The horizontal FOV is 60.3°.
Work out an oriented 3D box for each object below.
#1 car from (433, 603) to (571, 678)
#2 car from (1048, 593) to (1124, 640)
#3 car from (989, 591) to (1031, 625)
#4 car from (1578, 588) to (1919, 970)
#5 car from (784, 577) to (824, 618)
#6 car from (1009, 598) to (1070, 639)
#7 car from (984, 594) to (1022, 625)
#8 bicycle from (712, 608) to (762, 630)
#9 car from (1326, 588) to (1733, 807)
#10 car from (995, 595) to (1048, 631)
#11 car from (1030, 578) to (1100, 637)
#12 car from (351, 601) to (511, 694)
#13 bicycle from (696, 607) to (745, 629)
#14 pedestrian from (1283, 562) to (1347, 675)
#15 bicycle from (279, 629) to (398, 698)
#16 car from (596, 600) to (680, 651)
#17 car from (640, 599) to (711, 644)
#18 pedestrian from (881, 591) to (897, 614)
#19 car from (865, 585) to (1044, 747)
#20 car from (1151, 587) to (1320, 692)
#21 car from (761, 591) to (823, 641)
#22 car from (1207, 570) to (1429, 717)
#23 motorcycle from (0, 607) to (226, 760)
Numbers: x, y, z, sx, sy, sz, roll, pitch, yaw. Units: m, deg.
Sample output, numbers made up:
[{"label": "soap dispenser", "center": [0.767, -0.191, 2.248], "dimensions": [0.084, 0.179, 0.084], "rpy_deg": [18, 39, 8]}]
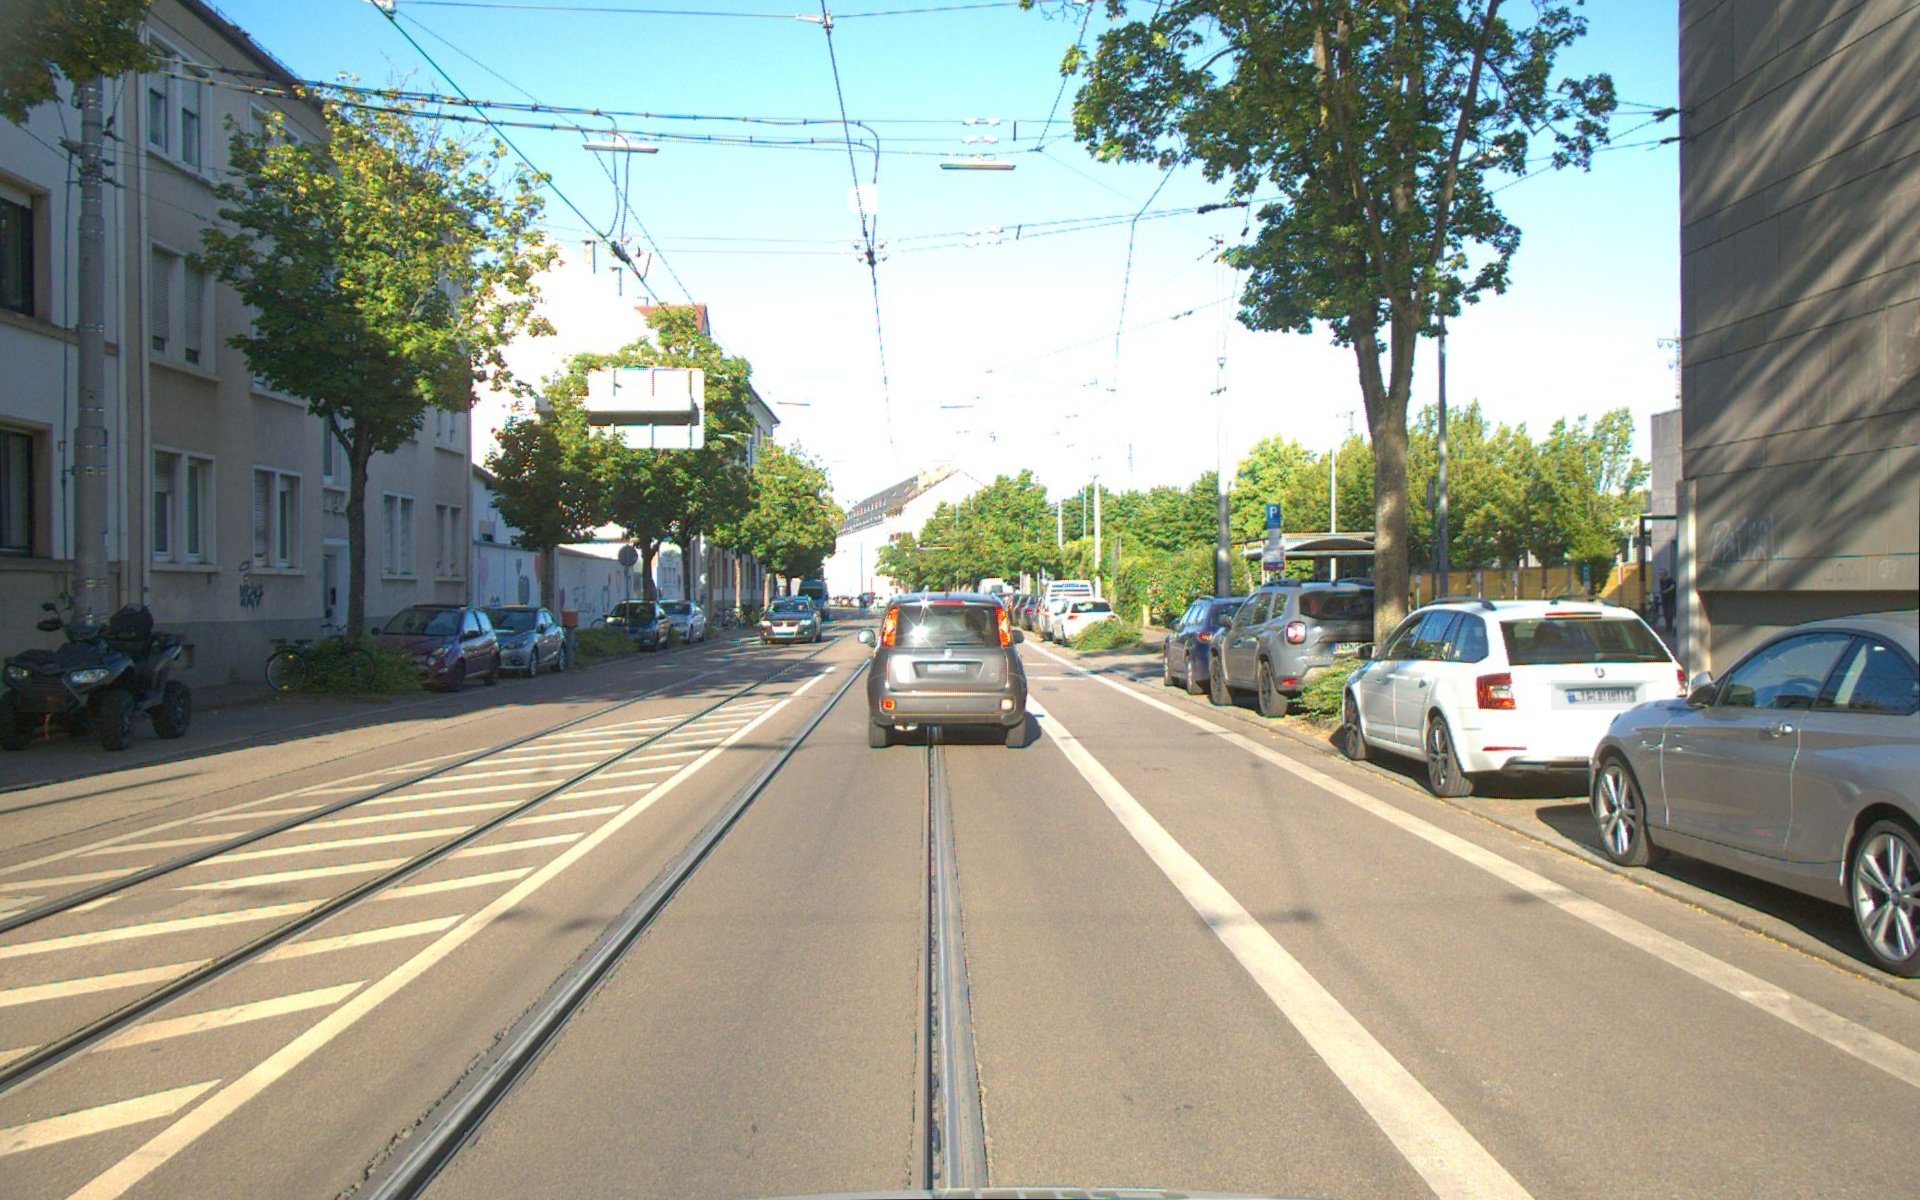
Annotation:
[{"label": "car", "center": [-9.632, 0.815, 35.117], "dimensions": [1.917, 1.444, 4.186], "rpy_deg": [-1, 0, -3]}, {"label": "car", "center": [3.944, 0.496, 52.241], "dimensions": [1.876, 1.399, 4.186], "rpy_deg": [-1, 0, -3]}, {"label": "car", "center": [2.370, 0.367, 79.195], "dimensions": [1.662, 1.574, 3.998], "rpy_deg": [-1, 0, -2]}, {"label": "car", "center": [4.632, 0.695, 7.799], "dimensions": [1.785, 1.489, 4.155], "rpy_deg": [-1, 0, -1]}, {"label": "car", "center": [-10.492, -0.185, 111.562], "dimensions": [2.286, 2.614, 5.670], "rpy_deg": [-1, 0, -1]}, {"label": "car", "center": [2.994, 0.670, 62.837], "dimensions": [1.917, 1.444, 4.186], "rpy_deg": [-1, 0, -3]}, {"label": "car", "center": [2.191, 0.487, 85.611], "dimensions": [1.662, 1.525, 3.998], "rpy_deg": [-1, 0, -2]}, {"label": "bicycle", "center": [-10.067, 0.856, 74.563], "dimensions": [2.277, 0.946, 0.788], "rpy_deg": [-1, 0, 35]}, {"label": "car", "center": [4.448, 0.661, 13.735], "dimensions": [1.710, 1.483, 4.617], "rpy_deg": [-1, 0, -1]}, {"label": "car", "center": [2.600, 0.540, 70.790], "dimensions": [1.917, 1.444, 4.186], "rpy_deg": [-1, 0, -3]}, {"label": "car", "center": [3.584, 0.241, 57.144], "dimensions": [1.917, 1.938, 4.186], "rpy_deg": [-1, 0, -3]}, {"label": "car", "center": [-9.452, 0.808, 29.880], "dimensions": [1.762, 1.512, 3.998], "rpy_deg": [-1, 0, -3]}, {"label": "bicycle", "center": [-10.660, 0.801, 73.523], "dimensions": [2.219, 0.946, 0.788], "rpy_deg": [-1, 0, 35]}, {"label": "pedestrian", "center": [6.555, 0.339, 30.593], "dimensions": [0.948, 2.049, 1.025], "rpy_deg": [-1, 0, 0]}, {"label": "bicycle", "center": [-9.722, 0.986, 25.901], "dimensions": [1.719, 1.041, 0.605], "rpy_deg": [1, -1, -22]}, {"label": "car", "center": [-9.804, 0.743, 50.628], "dimensions": [1.917, 1.444, 4.186], "rpy_deg": [-1, 0, -3]}, {"label": "car", "center": [-9.931, 0.728, 57.937], "dimensions": [1.917, 1.444, 4.186], "rpy_deg": [-1, 0, -3]}, {"label": "pedestrian", "center": [-5.718, 0.202, 132.937], "dimensions": [0.987, 1.805, 0.882], "rpy_deg": [-1, 0, -29]}, {"label": "car", "center": [-0.083, 0.636, 17.795], "dimensions": [1.696, 1.527, 3.999], "rpy_deg": [-1, 0, -1]}, {"label": "car", "center": [4.293, 0.575, 26.388], "dimensions": [1.805, 1.509, 4.186], "rpy_deg": [-1, 0, -3]}, {"label": "car", "center": [-5.346, 0.489, 52.967], "dimensions": [1.745, 1.518, 4.186], "rpy_deg": [0, 0, -3]}, {"label": "car", "center": [4.477, 0.495, 21.294], "dimensions": [1.781, 1.669, 4.103], "rpy_deg": [-1, 0, -3]}, {"label": "motorcycle", "center": [-9.499, 0.859, 18.313], "dimensions": [1.429, 1.507, 3.100], "rpy_deg": [-1, 0, -2]}]
